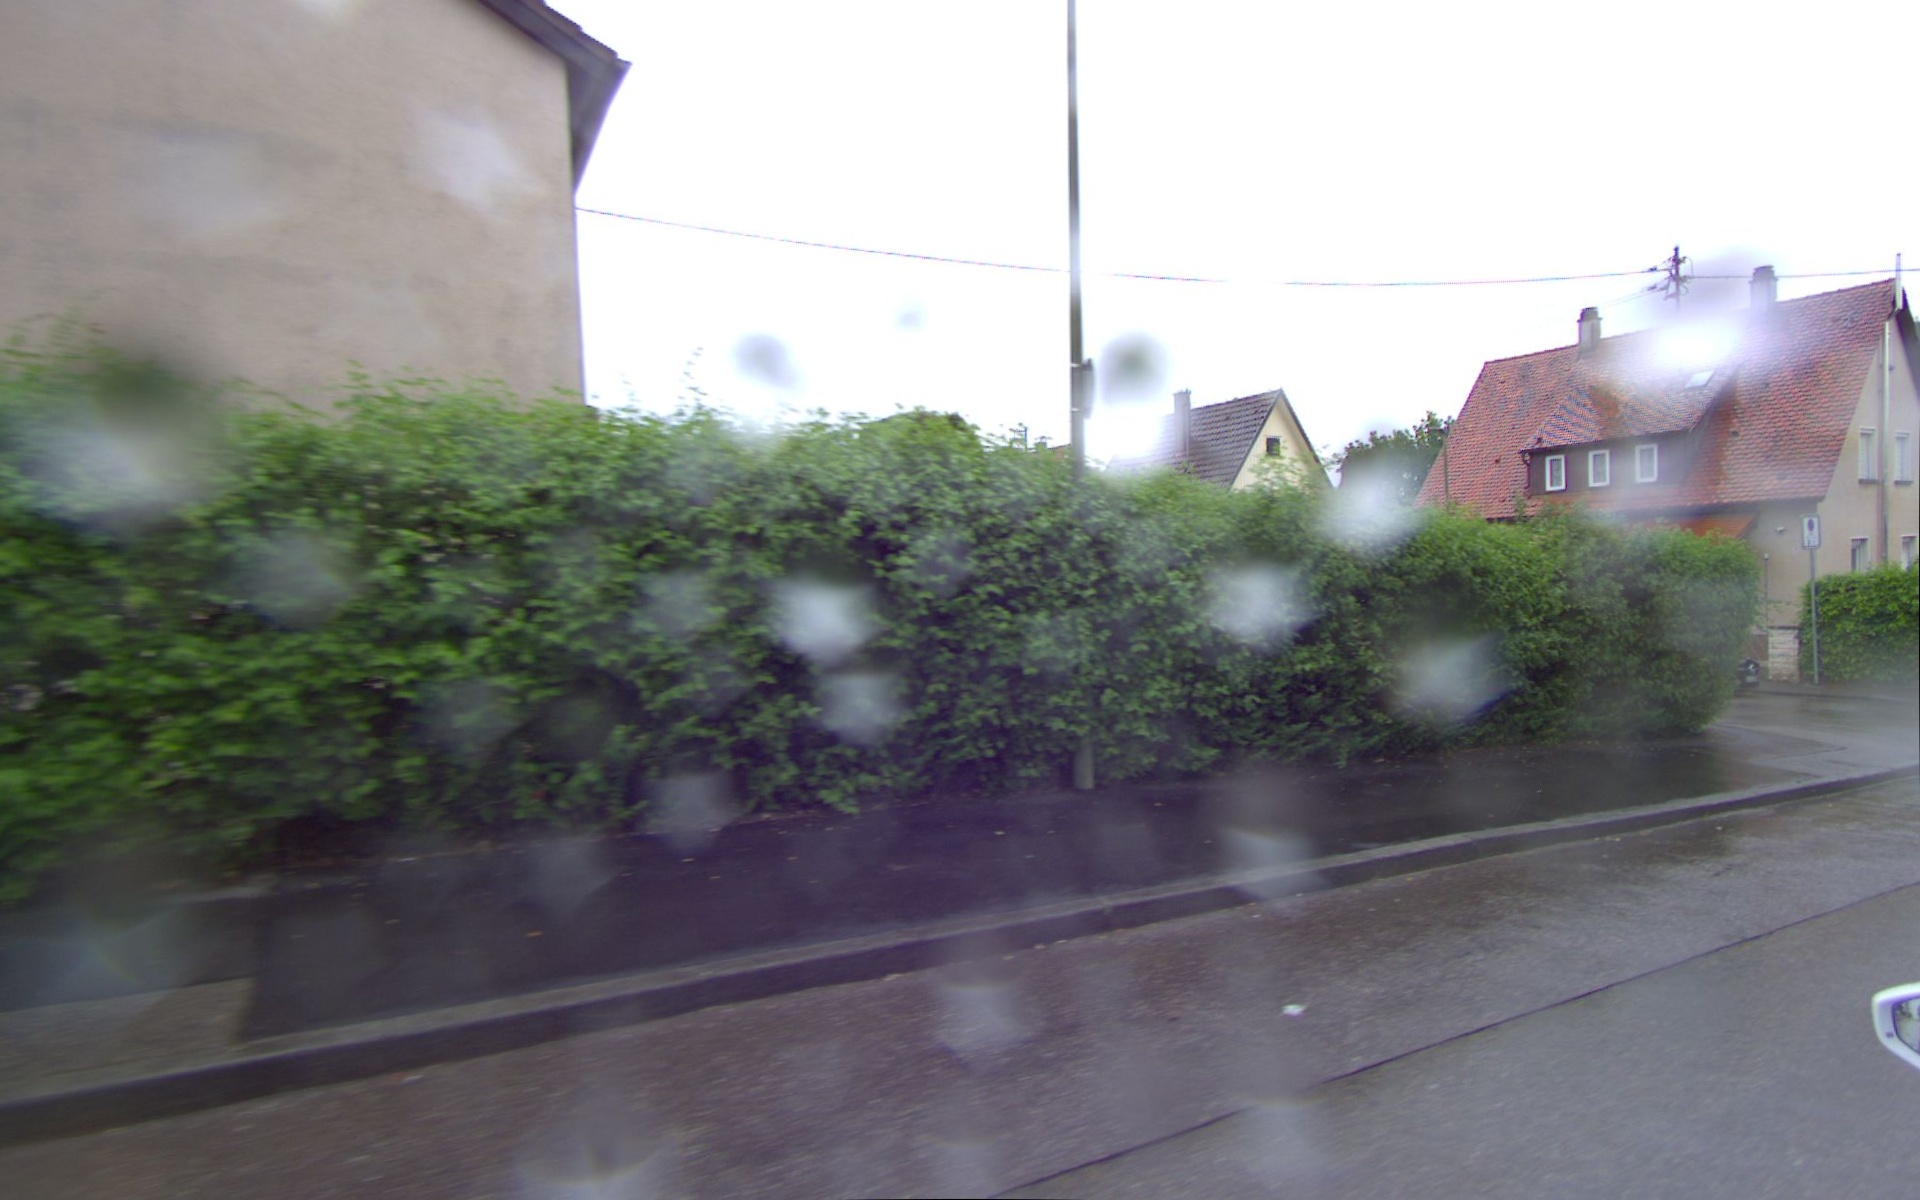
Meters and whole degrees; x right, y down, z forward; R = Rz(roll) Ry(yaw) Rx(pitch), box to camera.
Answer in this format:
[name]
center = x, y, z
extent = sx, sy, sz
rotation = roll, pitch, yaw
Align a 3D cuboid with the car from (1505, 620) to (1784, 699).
[car]
center = 14.269, 1.163, 21.243
extent = 1.871, 1.417, 4.561
rotation = 0, 0, -29
